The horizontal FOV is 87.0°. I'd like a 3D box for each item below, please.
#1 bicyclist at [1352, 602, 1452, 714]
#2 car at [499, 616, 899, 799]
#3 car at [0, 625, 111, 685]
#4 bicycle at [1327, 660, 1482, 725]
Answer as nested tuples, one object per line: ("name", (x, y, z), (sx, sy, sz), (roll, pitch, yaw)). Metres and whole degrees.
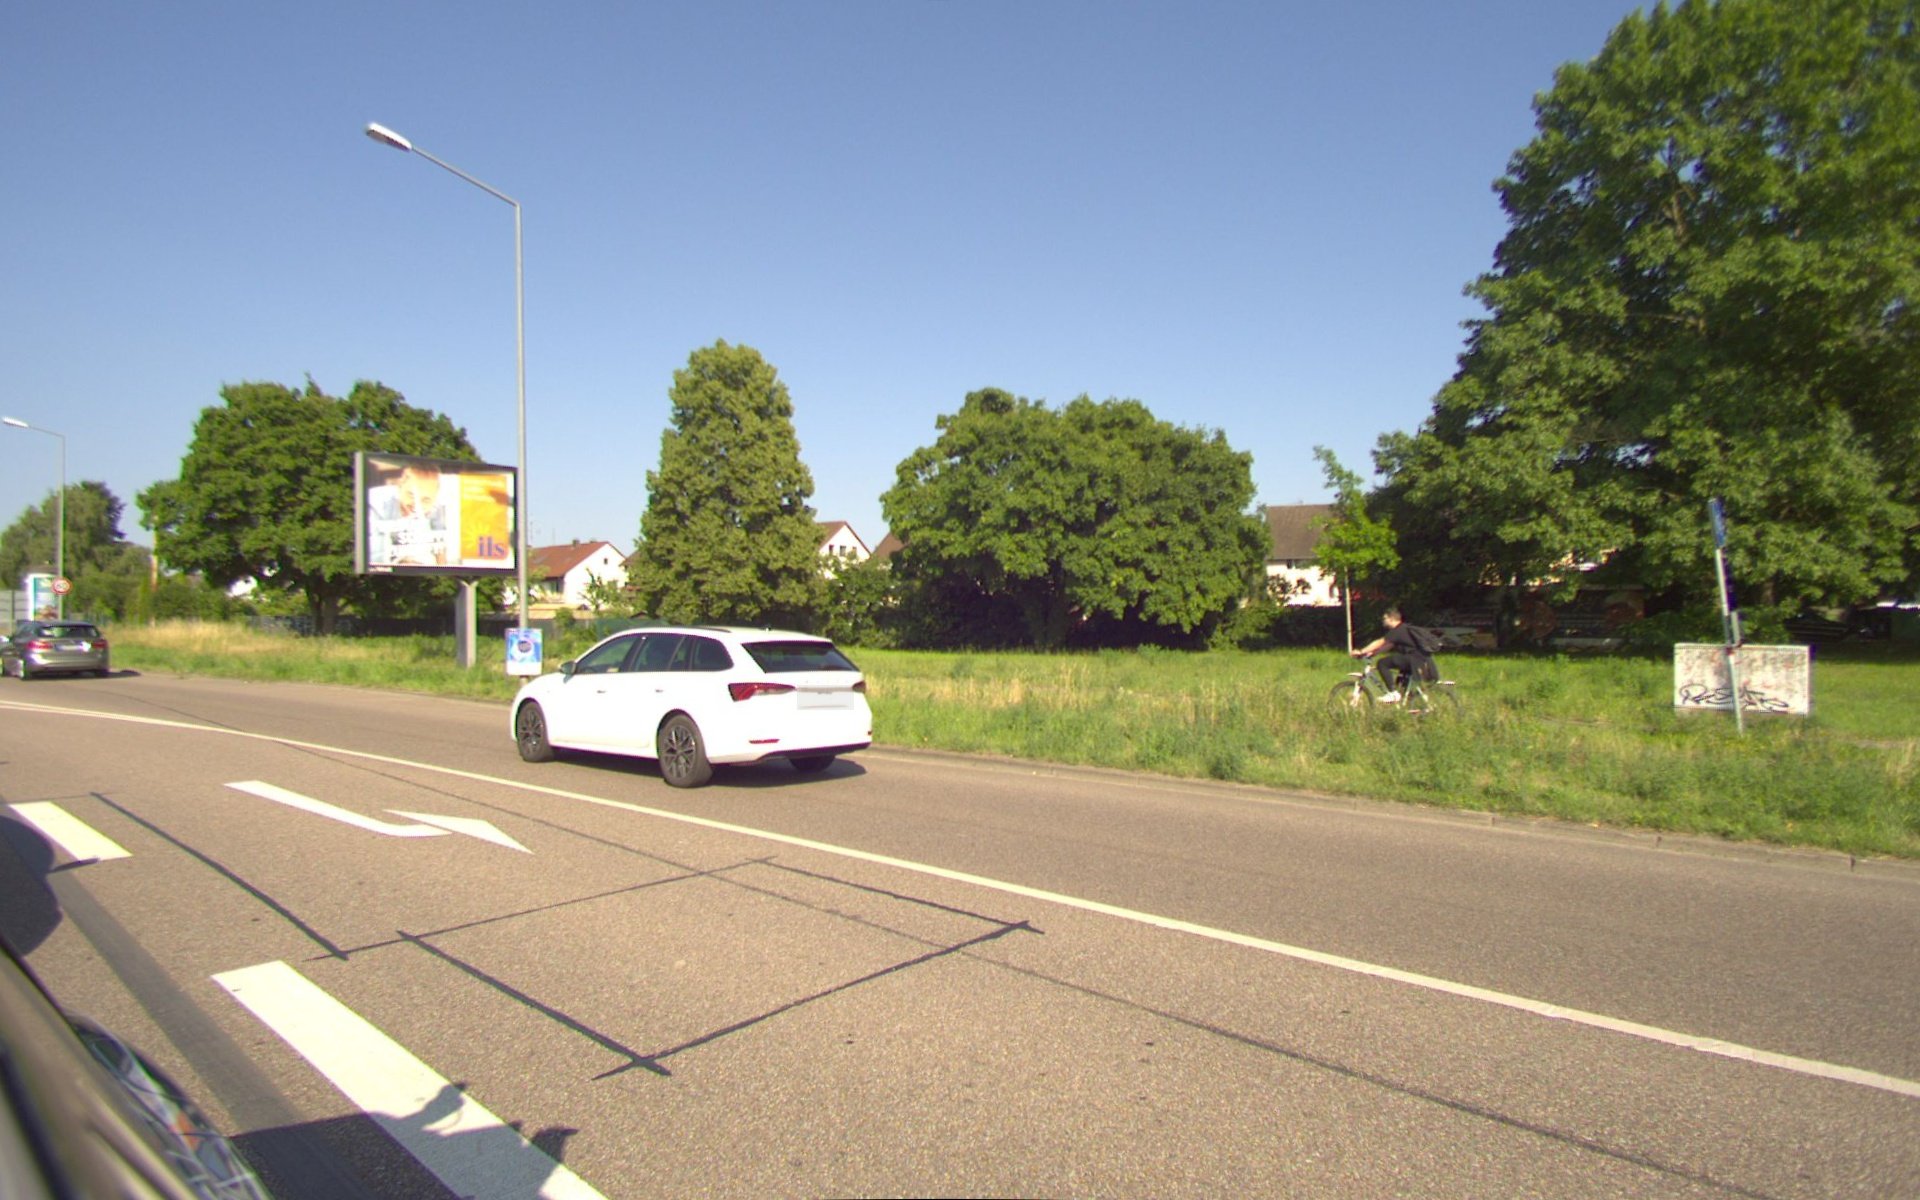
("bicyclist", (5.932, 0.762, 13.607), (1.071, 1.439, 0.630), (-2, -1, 42))
("car", (-2.787, 0.954, 10.313), (4.268, 1.489, 1.762), (-1, -3, 39))
("car", (-24.656, 1.429, 27.291), (4.279, 1.489, 1.763), (-1, -2, 37))
("bicycle", (5.904, 1.213, 13.520), (1.834, 0.759, 0.449), (-1, -1, 42))
